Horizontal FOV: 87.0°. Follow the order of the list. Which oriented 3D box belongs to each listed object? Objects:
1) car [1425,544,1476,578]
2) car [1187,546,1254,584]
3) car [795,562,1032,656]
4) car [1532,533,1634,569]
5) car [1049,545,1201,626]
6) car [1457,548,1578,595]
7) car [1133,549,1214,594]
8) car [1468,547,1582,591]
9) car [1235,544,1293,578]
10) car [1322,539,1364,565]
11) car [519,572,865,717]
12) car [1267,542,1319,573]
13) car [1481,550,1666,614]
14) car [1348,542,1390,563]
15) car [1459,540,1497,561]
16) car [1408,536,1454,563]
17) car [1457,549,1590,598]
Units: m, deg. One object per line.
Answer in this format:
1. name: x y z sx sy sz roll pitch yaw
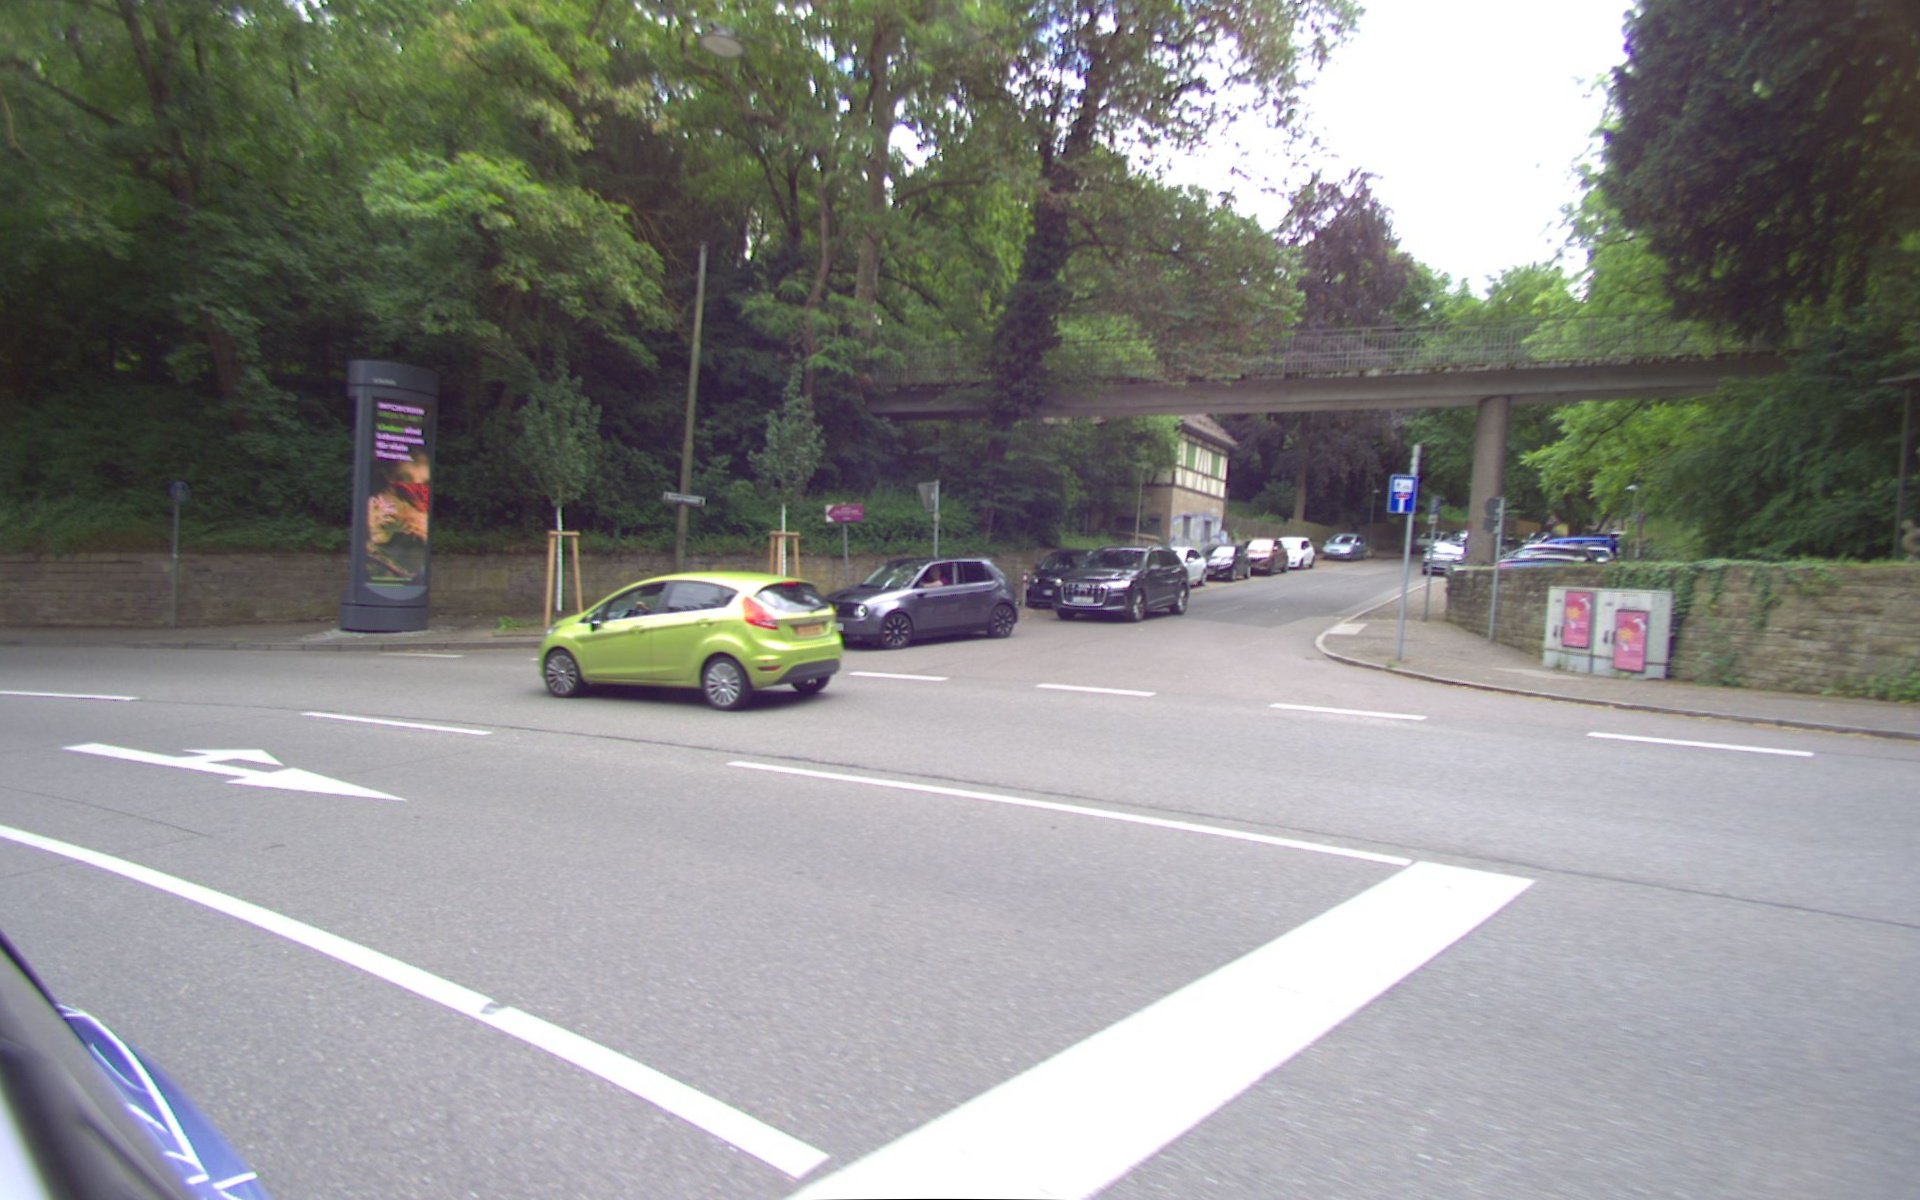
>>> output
1. car: 23.593 -1.903 48.615 1.754 1.443 3.957 4 6 32
2. car: 10.528 -1.432 40.733 1.596 1.339 3.873 4 5 30
3. car: -0.741 0.070 17.859 3.938 1.368 1.757 -4 4 -41
4. car: 29.504 -2.356 48.009 3.987 1.530 1.806 4 5 32
5. car: 3.974 -0.405 23.760 1.803 1.697 4.491 2 3 34
6. car: 21.905 -1.157 39.799 3.987 1.530 1.806 5 6 32
7. car: 7.560 -1.051 35.628 1.623 1.339 3.984 4 5 30
8. car: 23.515 -1.344 42.188 3.988 1.530 1.806 5 6 32
9. car: 13.467 -1.758 44.719 1.596 1.339 3.873 4 5 30
10. car: 21.730 -2.770 57.389 1.596 1.339 3.873 4 5 30
11. car: -3.141 0.420 11.707 3.882 1.433 1.544 0 2 29
12. car: 16.303 -2.122 49.428 1.596 1.339 3.874 4 6 30
13. car: 16.528 -0.538 27.508 3.971 1.563 1.764 2 4 21
14. car: 25.156 -2.926 62.226 1.591 1.237 3.598 4 5 34
15. car: 39.042 -3.722 76.285 1.758 1.443 3.948 0 1 39
16. car: 32.675 -3.460 70.136 1.998 1.763 3.948 0 1 39
17. car: 19.990 -0.970 35.973 3.987 1.530 1.806 3 5 32
